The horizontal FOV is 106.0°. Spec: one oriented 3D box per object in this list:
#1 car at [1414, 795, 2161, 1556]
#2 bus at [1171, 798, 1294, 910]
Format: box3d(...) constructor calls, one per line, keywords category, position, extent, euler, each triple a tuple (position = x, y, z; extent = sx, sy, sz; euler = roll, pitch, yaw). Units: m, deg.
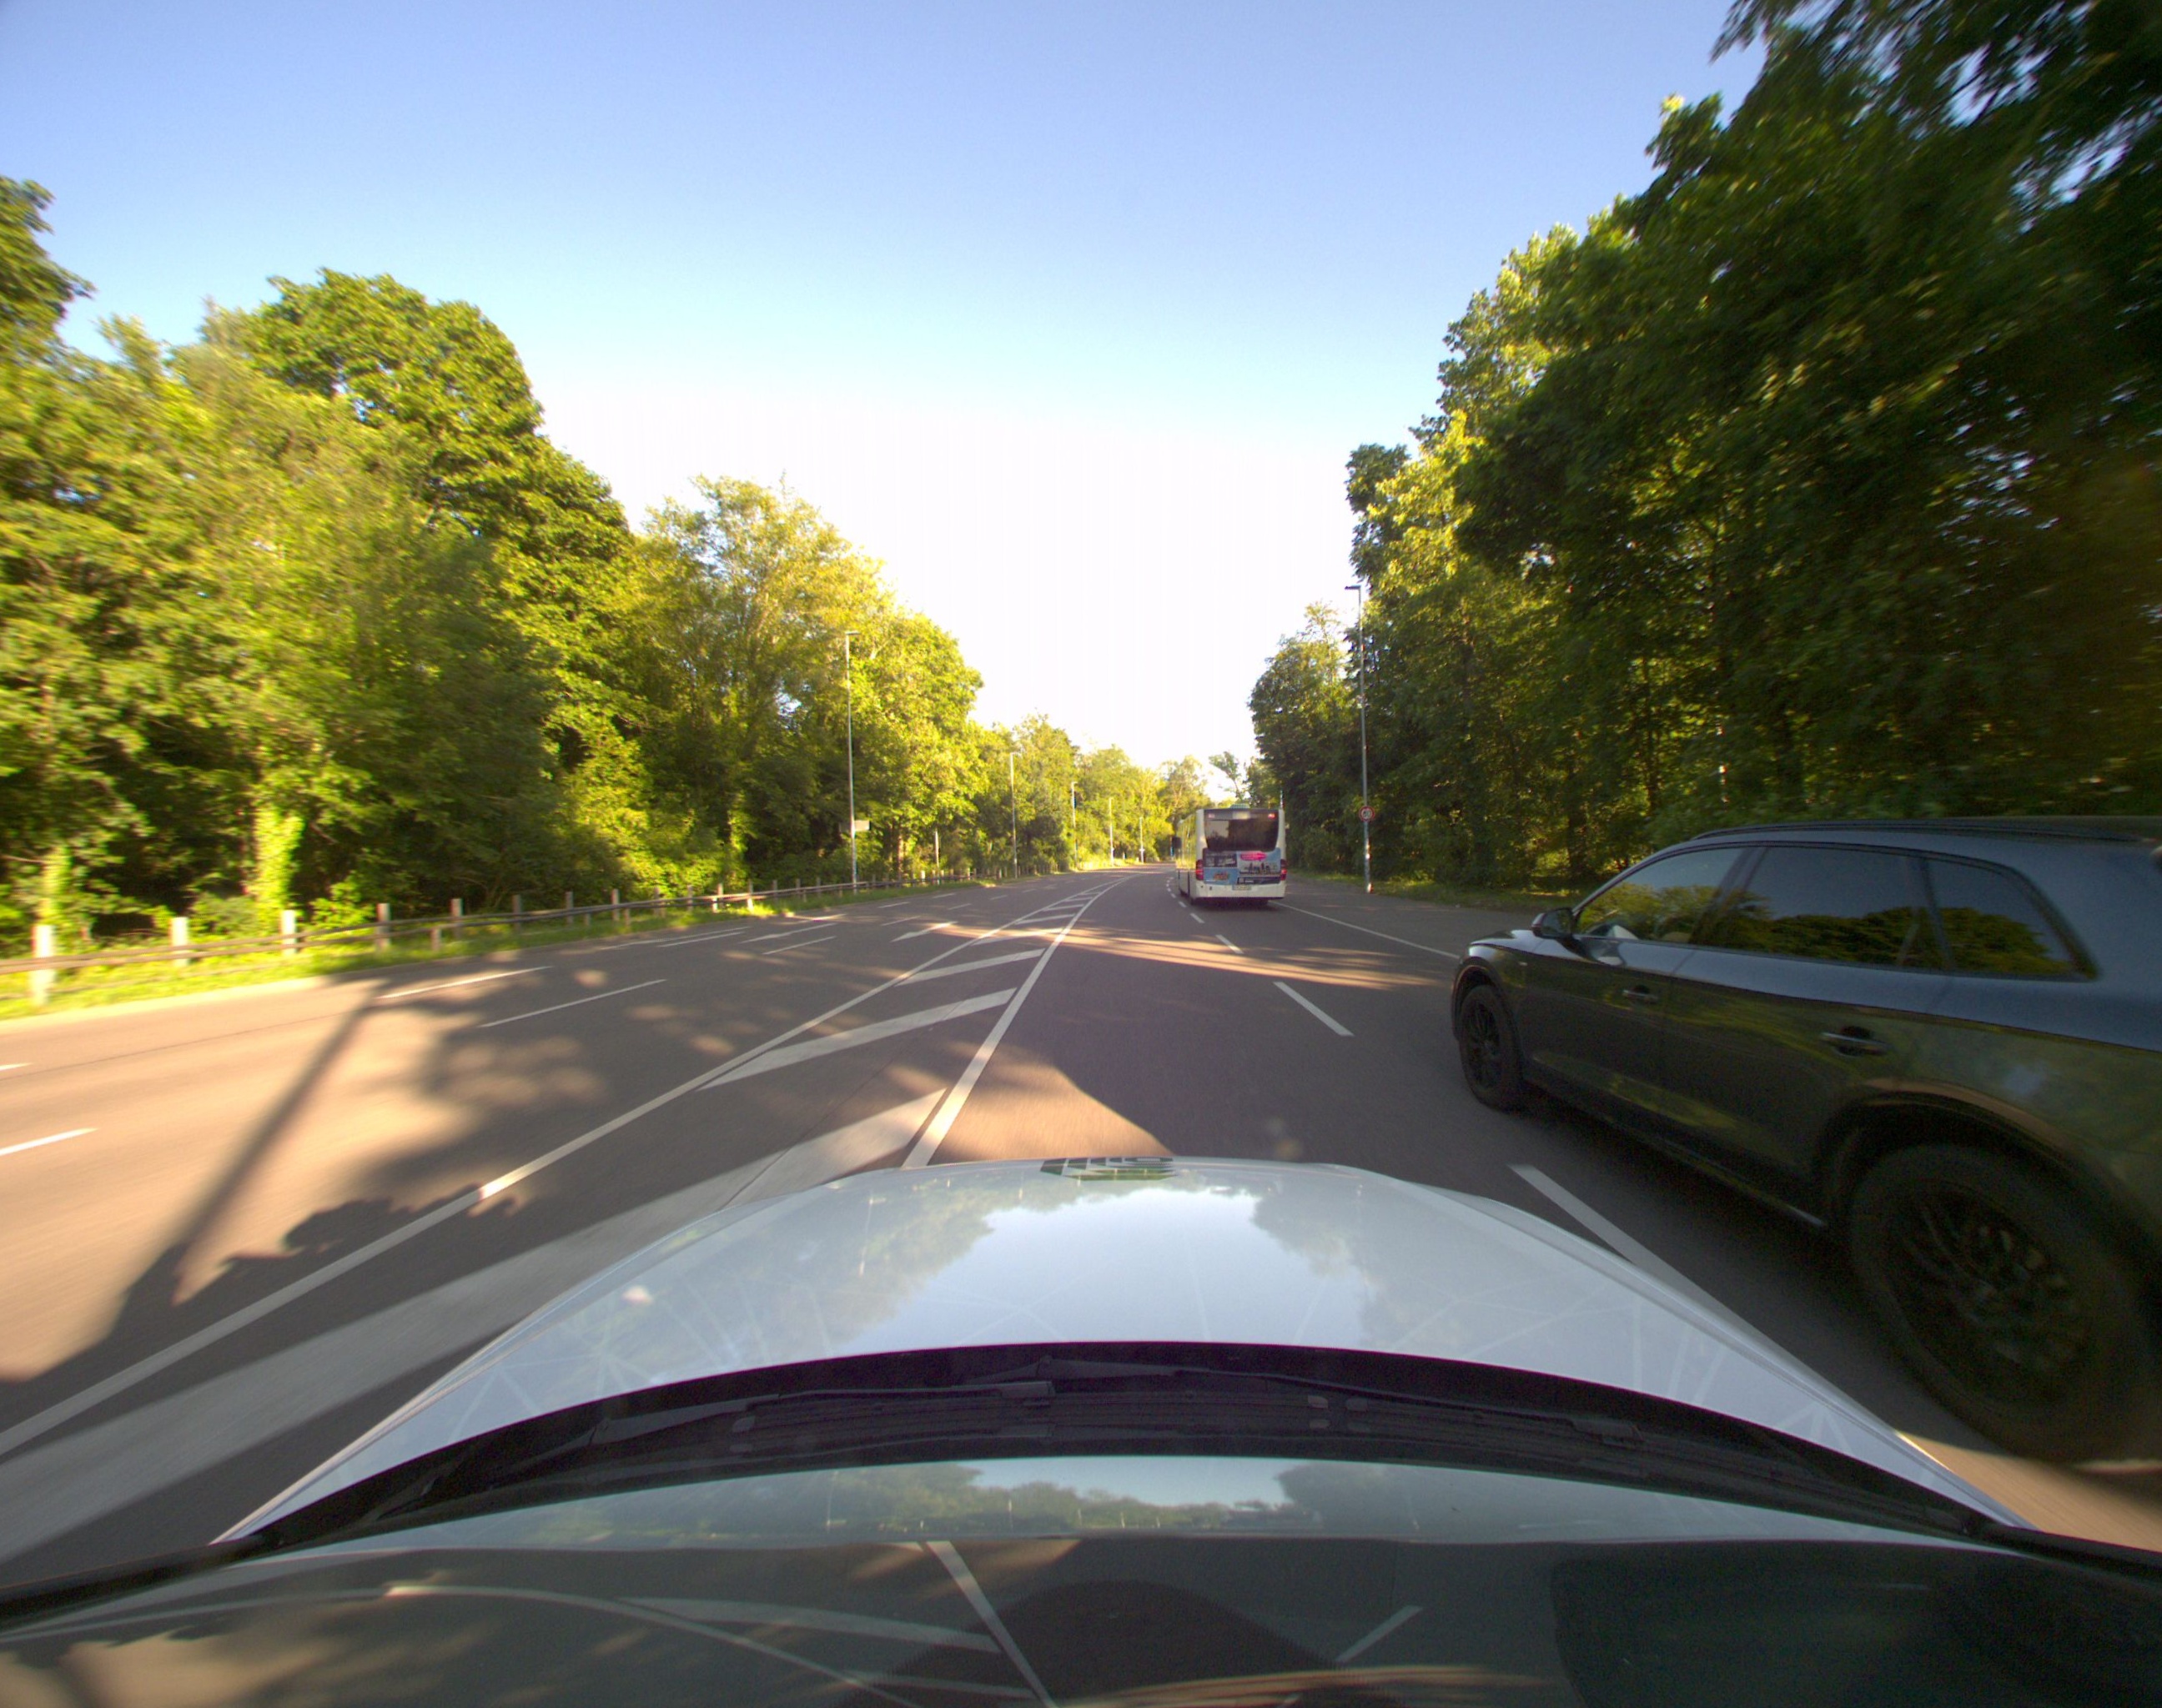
box3d(category="car", position=(3.285, 0.655, 3.602), extent=(1.885, 1.605, 4.547), euler=(-2, 0, 2))
box3d(category="bus", position=(4.808, 0.020, 28.376), extent=(2.678, 3.042, 12.051), euler=(-1, 0, 3))
